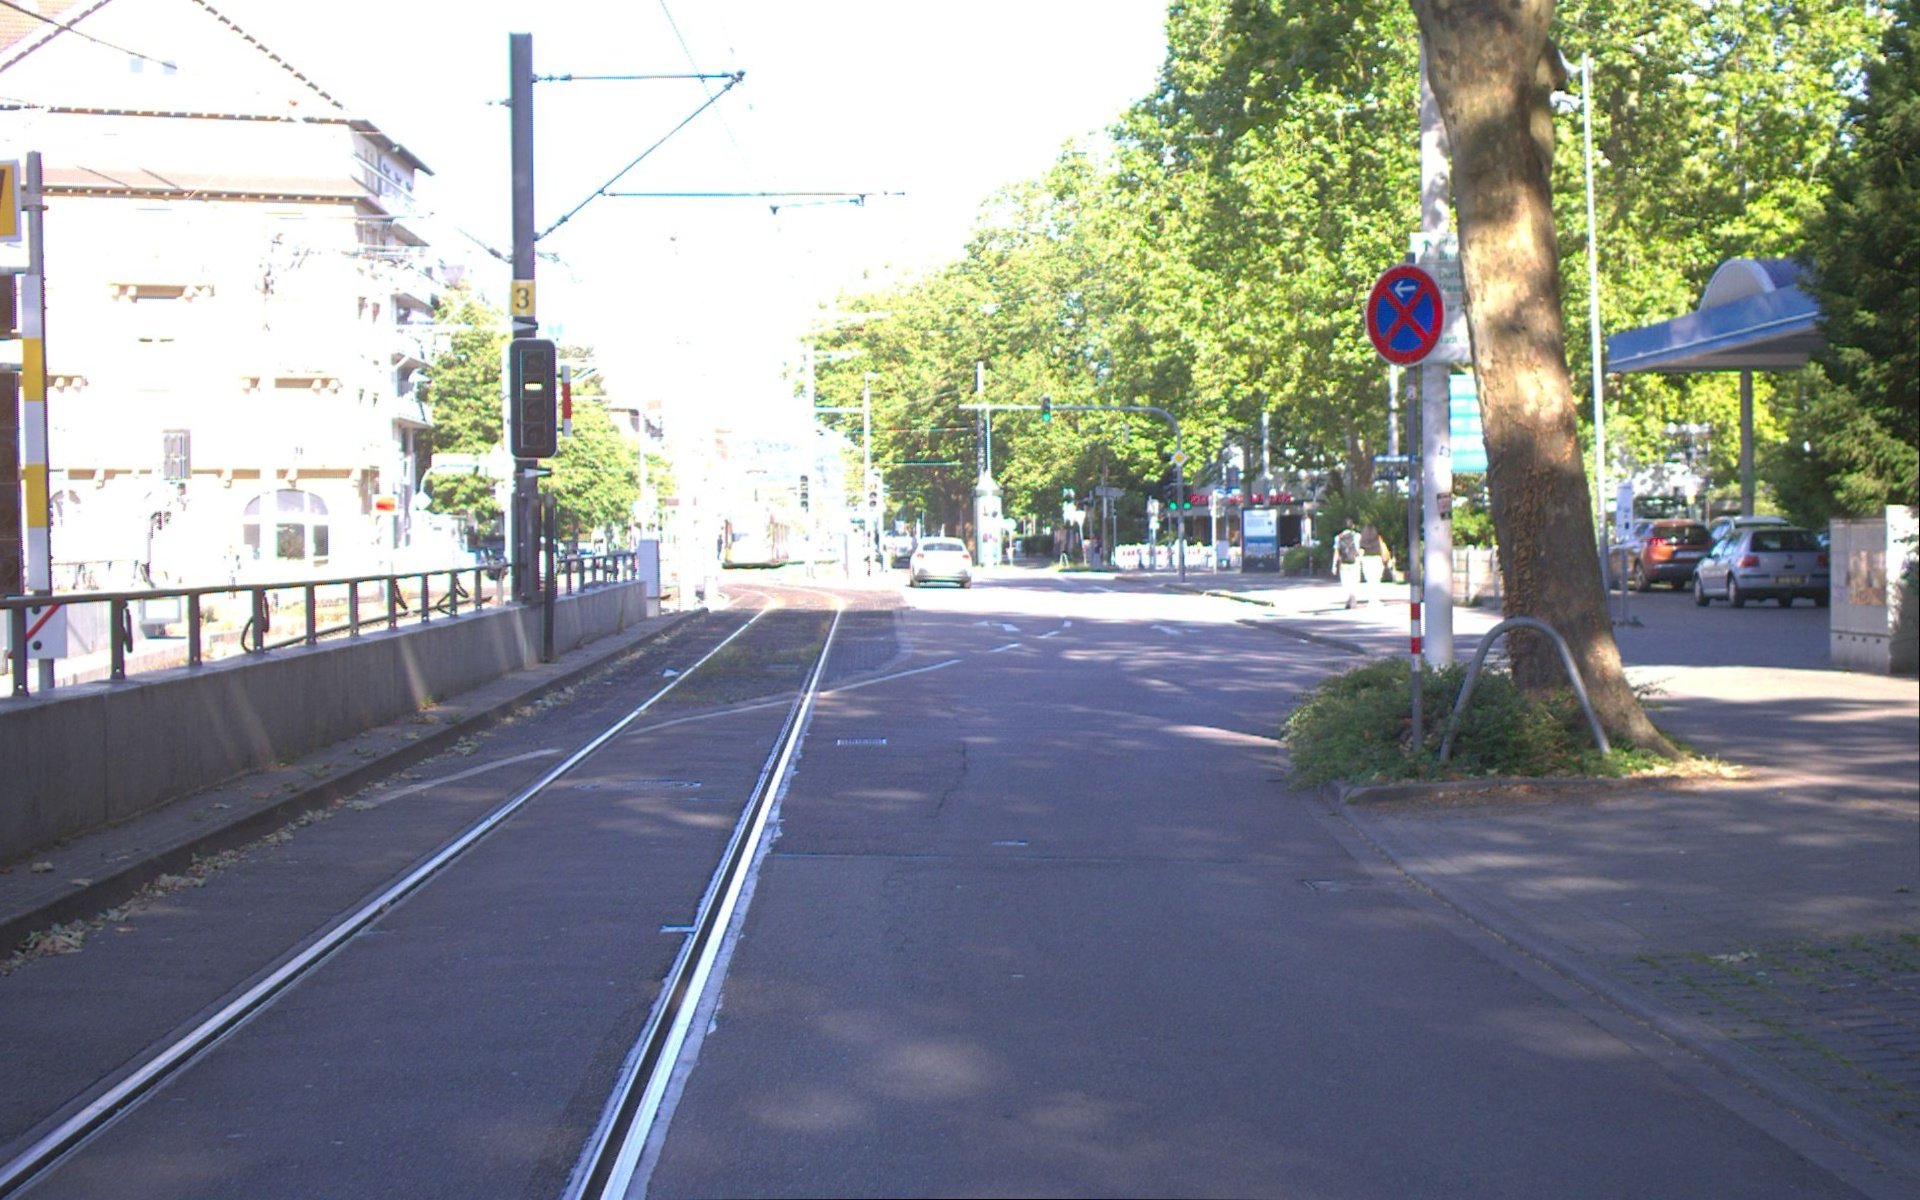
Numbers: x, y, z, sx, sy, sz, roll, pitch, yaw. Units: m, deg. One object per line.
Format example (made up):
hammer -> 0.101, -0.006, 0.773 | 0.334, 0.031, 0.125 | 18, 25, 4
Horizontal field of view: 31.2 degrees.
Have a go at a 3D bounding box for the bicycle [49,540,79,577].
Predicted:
bicycle -> -33.221, -1.535, 127.444 | 0.821, 1.278, 2.566 | 1, 1, -20

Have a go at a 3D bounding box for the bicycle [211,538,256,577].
bicycle -> -22.051, -1.297, 104.320 | 0.631, 1.140, 2.279 | -2, 1, 5

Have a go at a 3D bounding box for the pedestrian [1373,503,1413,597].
pedestrian -> 8.329, -0.958, 66.177 | 0.603, 1.770, 0.690 | -4, 1, 3

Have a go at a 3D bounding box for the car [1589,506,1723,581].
car -> 15.834, -1.315, 78.468 | 1.817, 1.596, 4.663 | -1, 2, -4

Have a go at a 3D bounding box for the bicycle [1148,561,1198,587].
bicycle -> 8.175, -1.010, 132.077 | 1.198, 0.931, 2.575 | 2, 1, -13

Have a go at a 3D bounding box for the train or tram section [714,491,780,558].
train or tram section -> -11.335, -4.029, 183.930 | 2.952, 3.398, 10.792 | 2, 1, -1

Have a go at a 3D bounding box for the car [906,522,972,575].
car -> -0.629, -1.518, 100.300 | 1.745, 1.457, 3.645 | 2, 1, -2

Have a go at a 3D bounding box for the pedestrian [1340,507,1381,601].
pedestrian -> 7.720, -0.893, 66.306 | 0.603, 1.770, 0.879 | -4, 1, 3

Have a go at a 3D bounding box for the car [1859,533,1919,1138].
car -> 3.183, 0.595, 6.884 | 1.551, 1.494, 4.050 | -2, 1, -2

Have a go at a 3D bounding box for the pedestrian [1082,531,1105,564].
pedestrian -> 5.798, -2.285, 149.580 | 0.660, 1.383, 0.830 | 3, 1, 31

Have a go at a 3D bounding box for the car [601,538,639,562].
car -> -21.559, -3.180, 218.091 | 1.993, 1.444, 4.841 | -2, 1, -1

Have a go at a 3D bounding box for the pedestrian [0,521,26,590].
pedestrian -> -26.285, -1.226, 95.188 | 0.605, 1.881, 0.757 | 2, 1, 1

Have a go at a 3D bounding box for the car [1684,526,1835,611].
car -> 14.101, -0.581, 60.824 | 1.567, 1.425, 4.099 | -1, 1, -2

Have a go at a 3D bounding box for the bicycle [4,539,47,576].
bicycle -> -34.545, -1.571, 127.090 | 0.821, 1.278, 2.565 | 1, 1, -32

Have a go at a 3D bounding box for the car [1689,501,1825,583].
car -> 17.985, -1.333, 77.758 | 1.860, 1.729, 4.799 | -1, 2, -1

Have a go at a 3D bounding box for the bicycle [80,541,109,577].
bicycle -> -32.307, -1.527, 128.395 | 0.821, 1.278, 2.565 | 2, 1, -10
